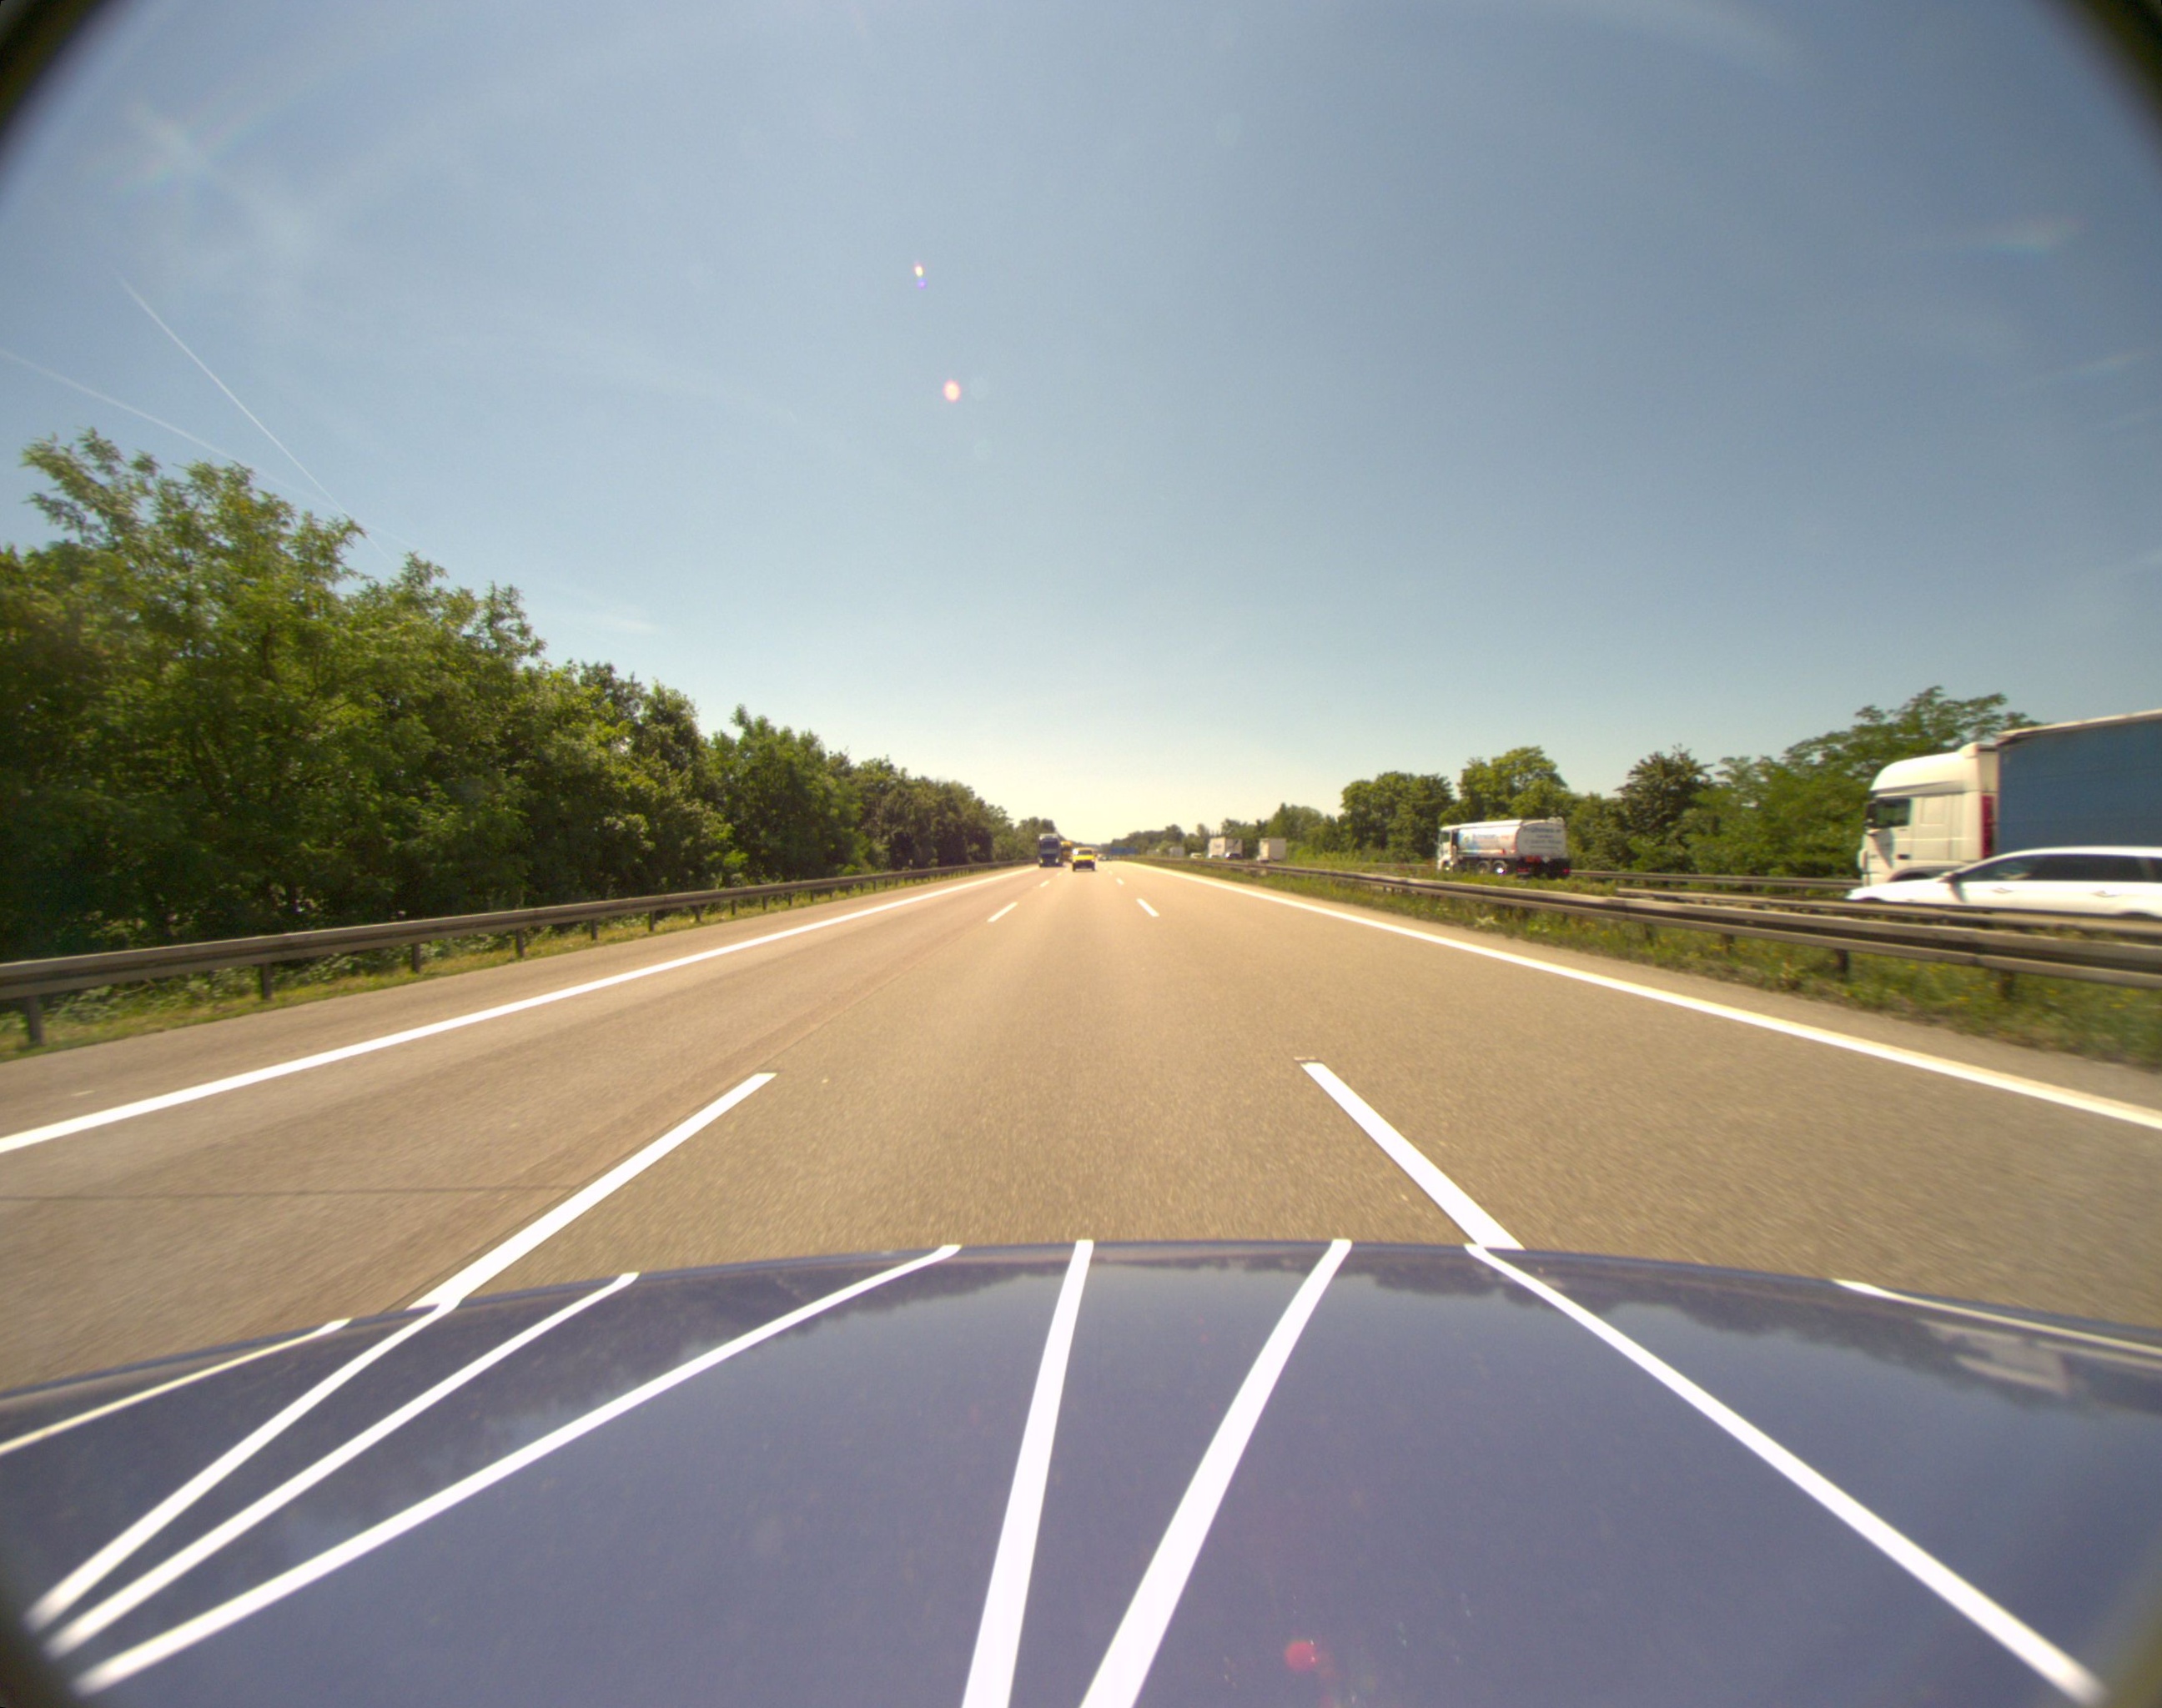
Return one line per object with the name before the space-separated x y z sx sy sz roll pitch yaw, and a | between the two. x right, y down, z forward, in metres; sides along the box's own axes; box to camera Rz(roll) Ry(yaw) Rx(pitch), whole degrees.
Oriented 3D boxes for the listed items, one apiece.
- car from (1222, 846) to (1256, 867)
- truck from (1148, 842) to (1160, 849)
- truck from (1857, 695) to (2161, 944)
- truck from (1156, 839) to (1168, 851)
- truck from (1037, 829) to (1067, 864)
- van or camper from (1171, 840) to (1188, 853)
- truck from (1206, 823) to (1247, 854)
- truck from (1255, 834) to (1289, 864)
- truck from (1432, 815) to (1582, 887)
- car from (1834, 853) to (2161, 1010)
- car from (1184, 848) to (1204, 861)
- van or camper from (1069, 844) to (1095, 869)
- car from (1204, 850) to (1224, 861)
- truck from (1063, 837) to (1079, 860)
car | 13.414 0.179 64.677 1.998 1.724 4.242 0 0 1
truck | 20.543 -2.375 213.828 2.735 2.055 7.138 0 0 2
truck | 20.232 -0.592 9.922 2.719 4.363 17.324 -1 1 1
truck | 26.922 -3.053 254.177 2.735 4.029 15.936 0 0 1
truck | -3.501 -0.886 96.076 2.977 3.934 16.612 -2 0 0
van or camper | 19.551 -1.456 151.113 2.474 2.545 7.808 0 0 1
truck | 22.755 -2.349 120.112 3.224 4.352 17.191 3 0 1
truck | 23.167 -0.594 92.667 2.375 3.444 7.422 -1 0 1
truck | 21.127 -0.156 38.461 2.719 3.189 8.924 -1 1 1
car | 13.121 0.869 9.723 1.998 1.724 5.075 0 0 1
car | 14.217 0.050 95.748 1.998 1.501 4.242 0 0 1
van or camper | 0.115 0.219 63.827 1.998 1.898 4.971 -2 -1 0
car | 18.836 0.170 107.893 1.998 1.475 4.945 -1 0 1
truck | -1.874 -1.081 150.099 2.852 4.232 16.791 0 0 0
